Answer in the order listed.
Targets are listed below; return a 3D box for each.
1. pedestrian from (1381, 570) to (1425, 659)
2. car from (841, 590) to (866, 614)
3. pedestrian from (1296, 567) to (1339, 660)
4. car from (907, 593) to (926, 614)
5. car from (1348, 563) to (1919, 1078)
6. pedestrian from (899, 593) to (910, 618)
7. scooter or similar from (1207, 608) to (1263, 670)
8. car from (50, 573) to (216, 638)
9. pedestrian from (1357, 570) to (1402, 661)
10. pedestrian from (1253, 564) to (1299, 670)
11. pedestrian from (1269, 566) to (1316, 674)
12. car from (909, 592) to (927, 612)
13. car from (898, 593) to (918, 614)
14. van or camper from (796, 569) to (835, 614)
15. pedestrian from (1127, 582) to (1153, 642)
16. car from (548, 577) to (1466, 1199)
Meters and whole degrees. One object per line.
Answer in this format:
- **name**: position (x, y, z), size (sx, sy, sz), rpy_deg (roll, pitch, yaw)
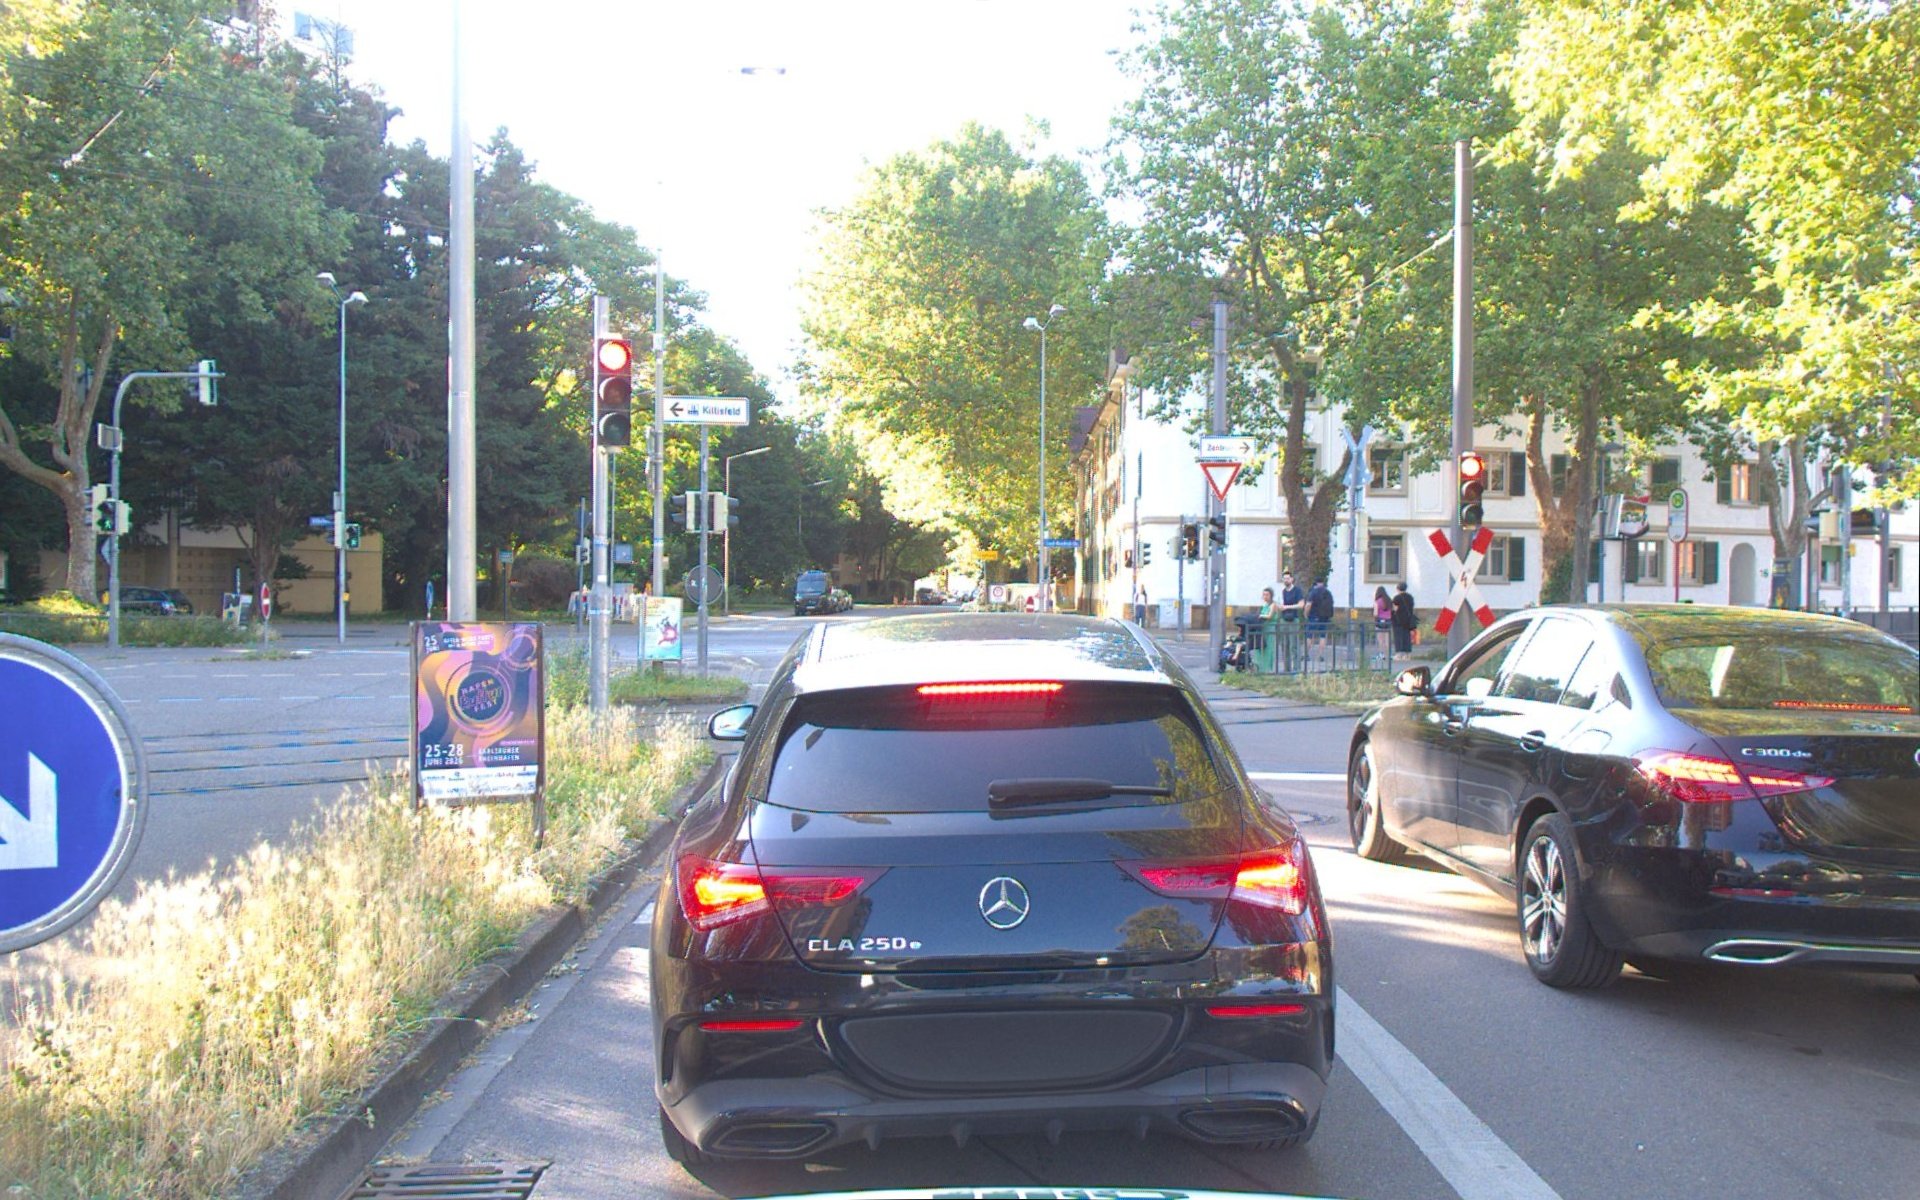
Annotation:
- **pedestrian**: position (9.859, 0.319, 36.806), size (0.691, 1.951, 0.838), rpy_deg (1, -1, -4)
- **car**: position (-8.137, 0.148, 126.267), size (1.698, 1.796, 3.970), rpy_deg (1, 0, -1)
- **pedestrian**: position (7.663, 0.290, 35.475), size (0.691, 1.951, 0.838), rpy_deg (1, -1, -4)
- **car**: position (-3.960, 0.320, 150.309), size (1.698, 1.796, 4.018), rpy_deg (1, 0, -1)
- **car**: position (3.124, 0.649, 7.314), size (1.850, 1.516, 4.383), rpy_deg (1, 2, 1)
- **pedestrian**: position (-4.369, 0.457, 129.943), size (0.692, 1.951, 0.837), rpy_deg (1, -1, -11)
- **scooter or similar**: position (5.067, 0.712, 30.532), size (0.812, 1.124, 0.808), rpy_deg (1, 0, -6)
- **car**: position (-24.380, 0.153, 48.837), size (3.902, 1.805, 2.001), rpy_deg (1, 0, 7)
- **pedestrian**: position (9.068, 0.332, 35.794), size (0.691, 1.951, 0.838), rpy_deg (1, -1, -4)
- **pedestrian**: position (5.913, 0.309, 30.967), size (0.669, 1.951, 0.706), rpy_deg (1, -1, -5)
- **pedestrian**: position (6.070, 0.362, 30.197), size (0.669, 1.951, 0.707), rpy_deg (1, -1, -3)
- **car**: position (-4.009, 0.210, 158.392), size (1.698, 1.796, 4.018), rpy_deg (1, 0, -1)
- **car**: position (-4.533, 0.352, 145.411), size (1.698, 1.796, 4.018), rpy_deg (1, 0, -1)
- **van or camper**: position (-8.660, -0.480, 99.604), size (1.953, 2.586, 4.650), rpy_deg (1, 0, -1)
- **pedestrian**: position (5.882, 0.387, 54.135), size (0.691, 1.951, 0.838), rpy_deg (1, -1, -4)
- **car**: position (0.110, 0.732, 5.377), size (1.851, 1.475, 4.001), rpy_deg (1, 2, 0)
